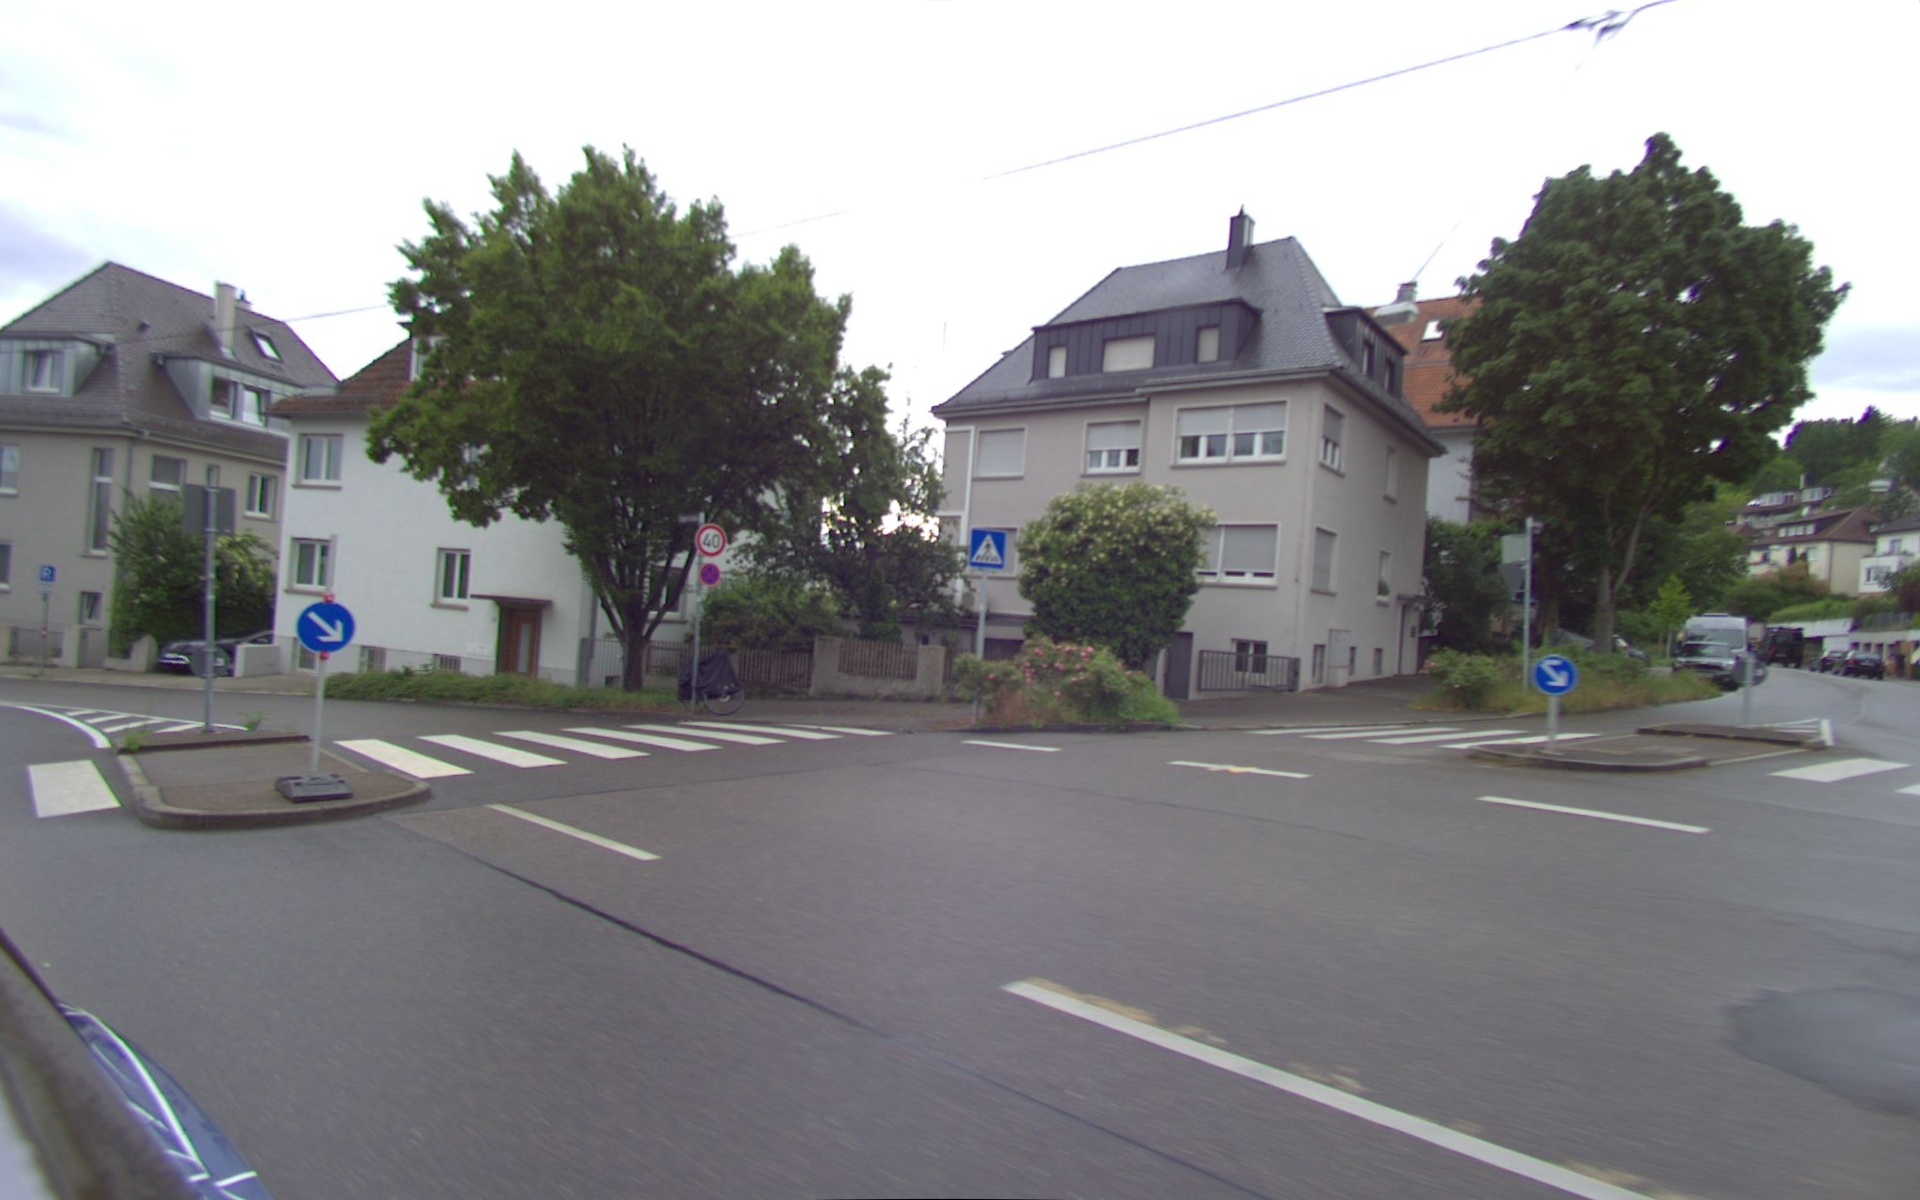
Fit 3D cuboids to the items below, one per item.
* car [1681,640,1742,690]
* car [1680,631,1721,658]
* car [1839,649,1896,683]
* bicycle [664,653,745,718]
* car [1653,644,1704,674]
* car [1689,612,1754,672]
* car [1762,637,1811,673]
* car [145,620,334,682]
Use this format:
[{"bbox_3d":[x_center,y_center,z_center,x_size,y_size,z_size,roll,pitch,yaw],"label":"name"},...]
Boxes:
[{"bbox_3d":[25.040,2.128,33.737,1.539,1.539,3.635,-1,-2,37],"label":"car"},{"bbox_3d":[45.448,2.709,62.083,1.737,1.597,3.946,-1,-2,40],"label":"car"},{"bbox_3d":[48.537,3.481,54.183,1.998,1.652,3.948,-1,-2,38],"label":"car"},{"bbox_3d":[-4.560,1.495,17.987,1.963,1.093,0.416,-3,-3,43],"label":"bicycle"},{"bbox_3d":[35.506,2.879,50.007,1.737,1.374,3.946,-1,-2,40],"label":"car"},{"bbox_3d":[28.692,1.561,38.198,1.834,2.139,4.978,-1,-2,37],"label":"car"},{"bbox_3d":[59.925,3.950,73.430,1.991,2.450,3.960,0,-2,29],"label":"car"},{"bbox_3d":[-21.410,1.454,30.270,1.985,1.636,4.225,1,0,20],"label":"car"}]
